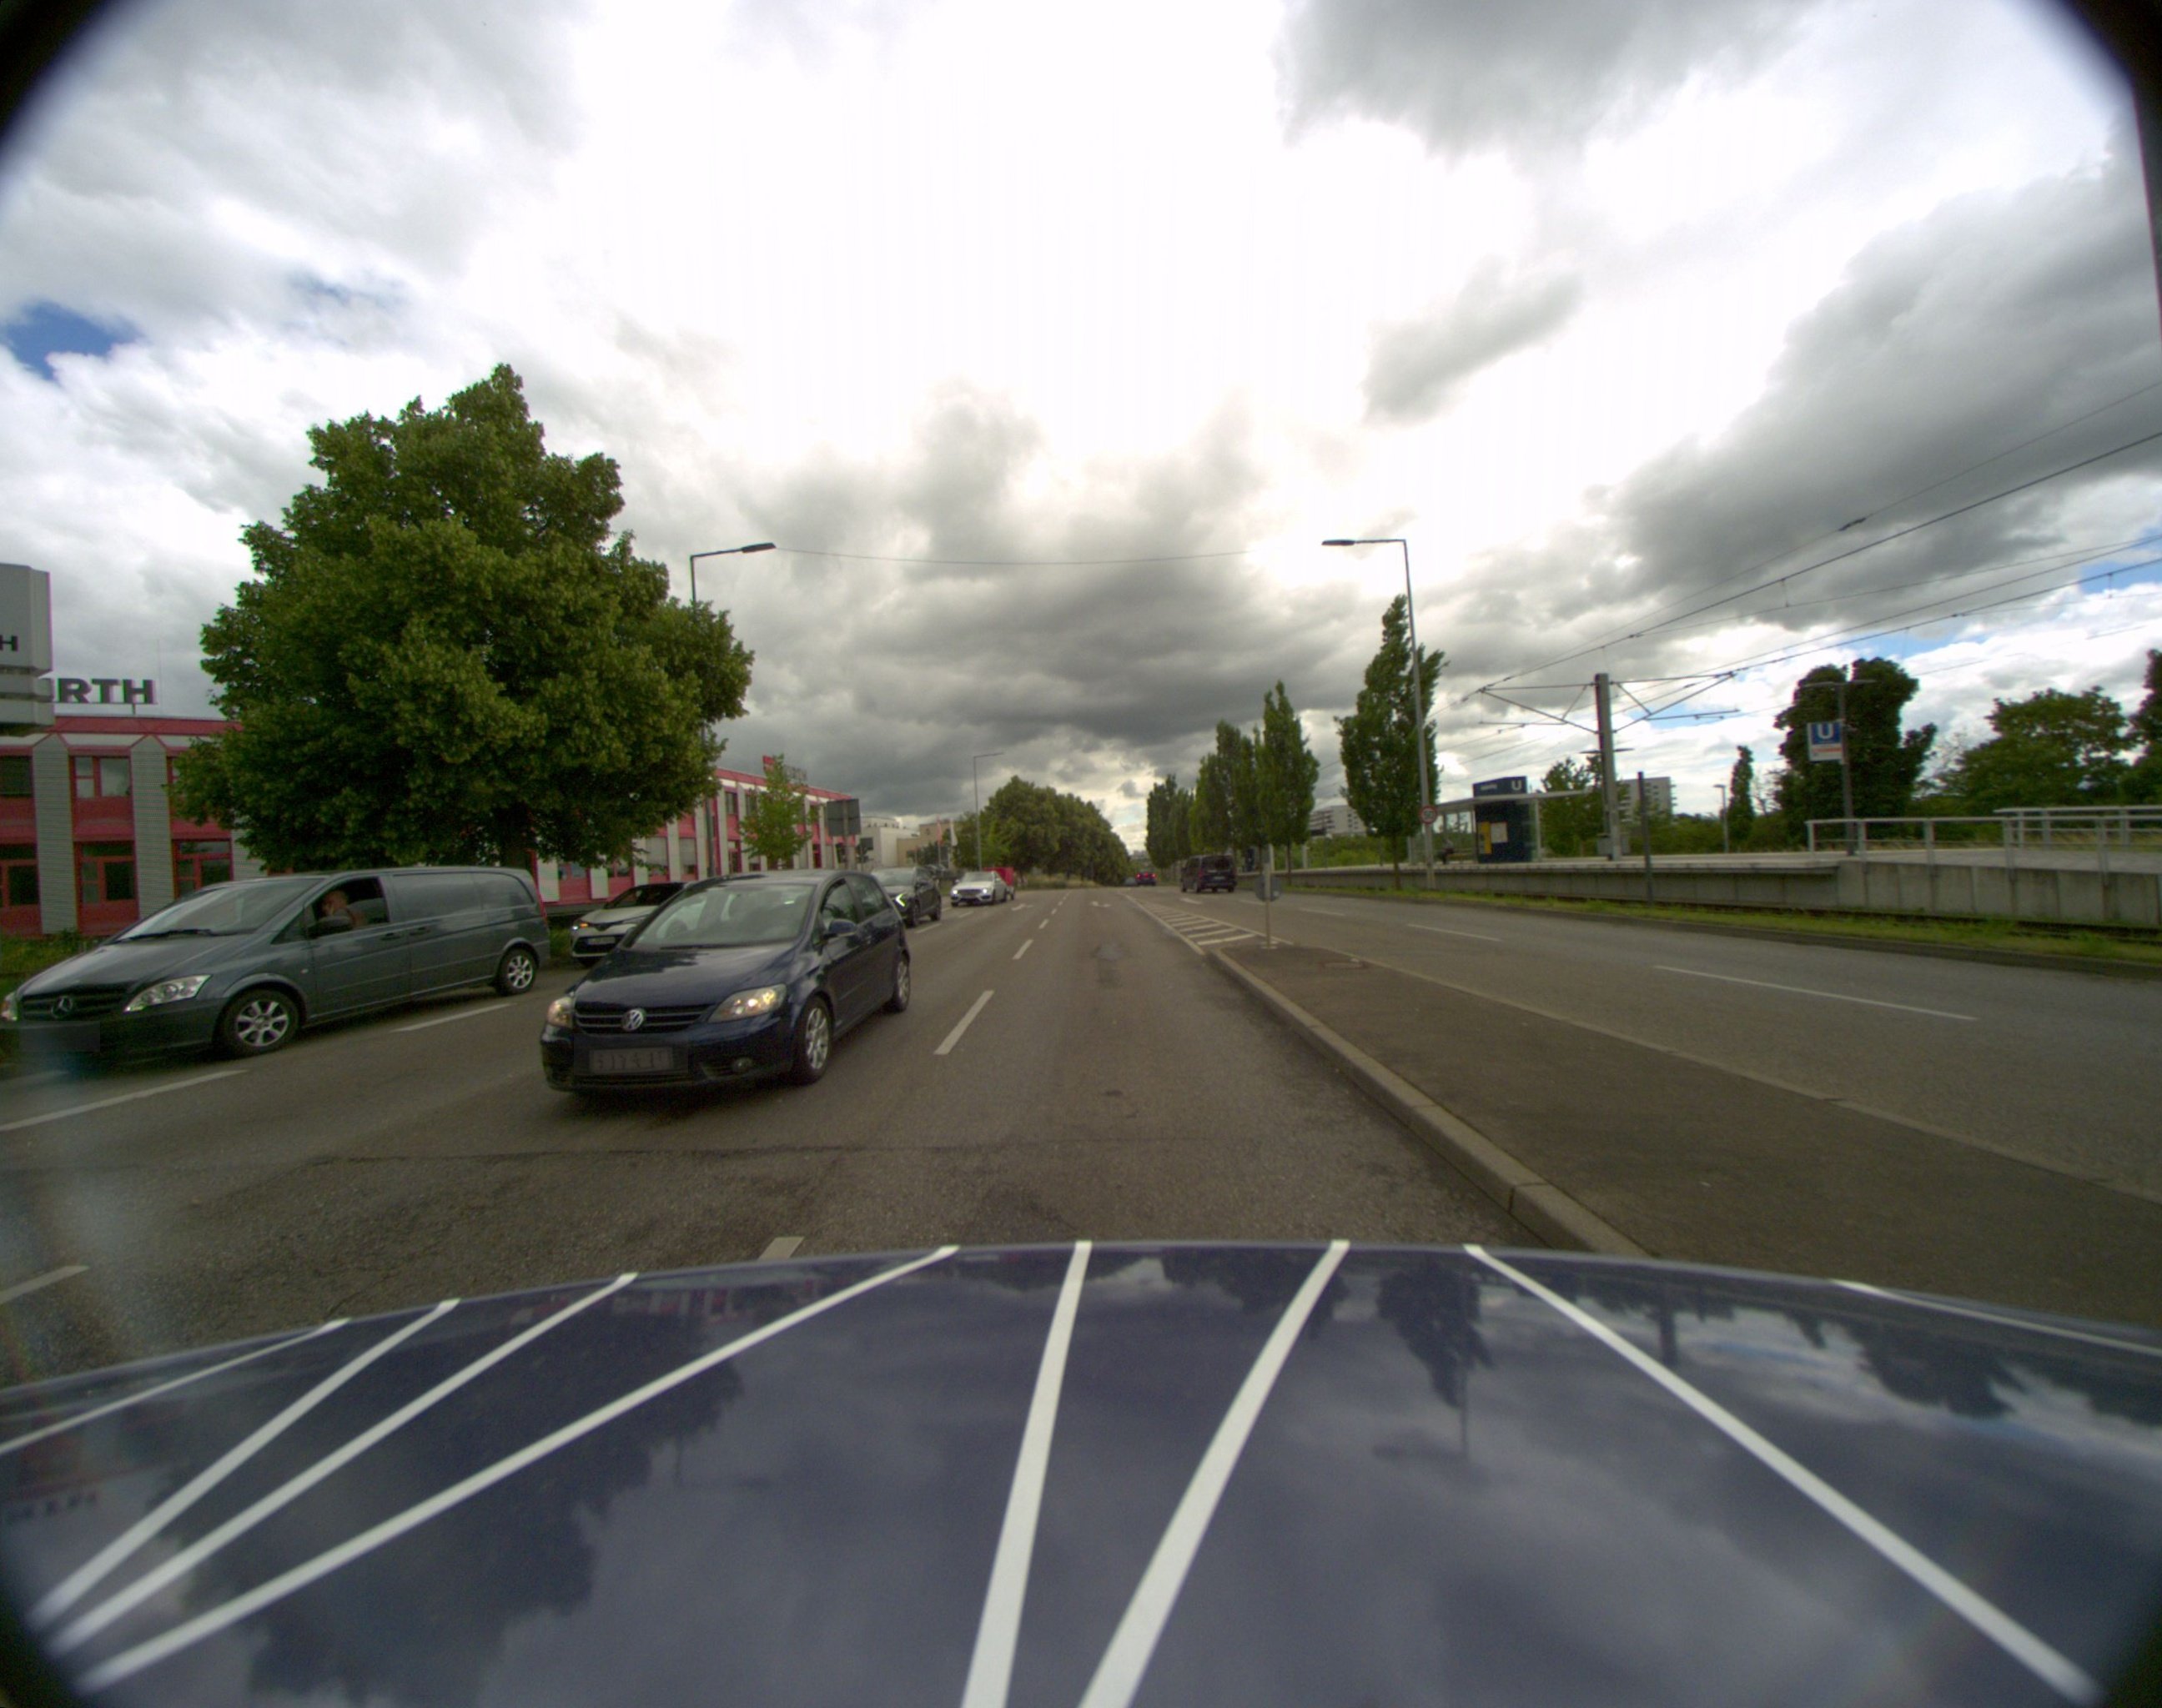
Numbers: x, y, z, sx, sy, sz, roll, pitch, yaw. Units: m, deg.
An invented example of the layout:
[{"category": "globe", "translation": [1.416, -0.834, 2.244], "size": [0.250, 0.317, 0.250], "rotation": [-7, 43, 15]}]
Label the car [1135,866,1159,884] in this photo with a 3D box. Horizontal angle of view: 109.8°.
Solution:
[{"category": "car", "translation": [6.129, 1.953, 70.470], "size": [1.740, 1.499, 3.659], "rotation": [-2, 0, -2]}]

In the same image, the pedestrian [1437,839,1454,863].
[{"category": "pedestrian", "translation": [17.636, -0.151, 36.744], "size": [0.601, 1.148, 0.447], "rotation": [-2, 1, 1]}]

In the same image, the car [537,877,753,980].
[{"category": "car", "translation": [-8.592, 1.384, 15.480], "size": [1.844, 1.507, 4.106], "rotation": [-6, 0, 1]}]

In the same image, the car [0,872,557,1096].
[{"category": "car", "translation": [-8.763, 1.194, 8.889], "size": [1.763, 1.764, 4.676], "rotation": [-5, -1, 2]}]

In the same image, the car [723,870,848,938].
[{"category": "car", "translation": [-8.443, 1.374, 22.154], "size": [1.865, 1.648, 4.209], "rotation": [-4, -1, 1]}]

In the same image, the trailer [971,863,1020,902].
[{"category": "trailer", "translation": [-4.149, 1.339, 37.411], "size": [1.775, 1.650, 3.996], "rotation": [-2, 1, 1]}]

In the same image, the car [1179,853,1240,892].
[{"category": "car", "translation": [6.421, 0.913, 38.628], "size": [1.893, 1.802, 5.091], "rotation": [-2, -1, -4]}]

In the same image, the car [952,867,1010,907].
[{"category": "car", "translation": [-4.277, 1.370, 33.219], "size": [1.775, 1.442, 4.401], "rotation": [-2, 1, 1]}]

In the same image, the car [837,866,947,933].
[{"category": "car", "translation": [-5.156, 1.188, 21.282], "size": [1.797, 1.521, 4.218], "rotation": [-2, 1, 3]}]

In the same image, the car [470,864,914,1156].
[{"category": "car", "translation": [-2.759, 0.961, 6.536], "size": [1.669, 1.589, 3.996], "rotation": [-2, 1, 0]}]

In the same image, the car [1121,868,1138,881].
[{"category": "car", "translation": [6.327, 2.692, 99.269], "size": [1.761, 1.519, 3.600], "rotation": [-2, 1, -1]}]

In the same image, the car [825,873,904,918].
[{"category": "car", "translation": [-8.344, 1.563, 29.686], "size": [1.763, 1.431, 4.370], "rotation": [-3, 0, 0]}]
